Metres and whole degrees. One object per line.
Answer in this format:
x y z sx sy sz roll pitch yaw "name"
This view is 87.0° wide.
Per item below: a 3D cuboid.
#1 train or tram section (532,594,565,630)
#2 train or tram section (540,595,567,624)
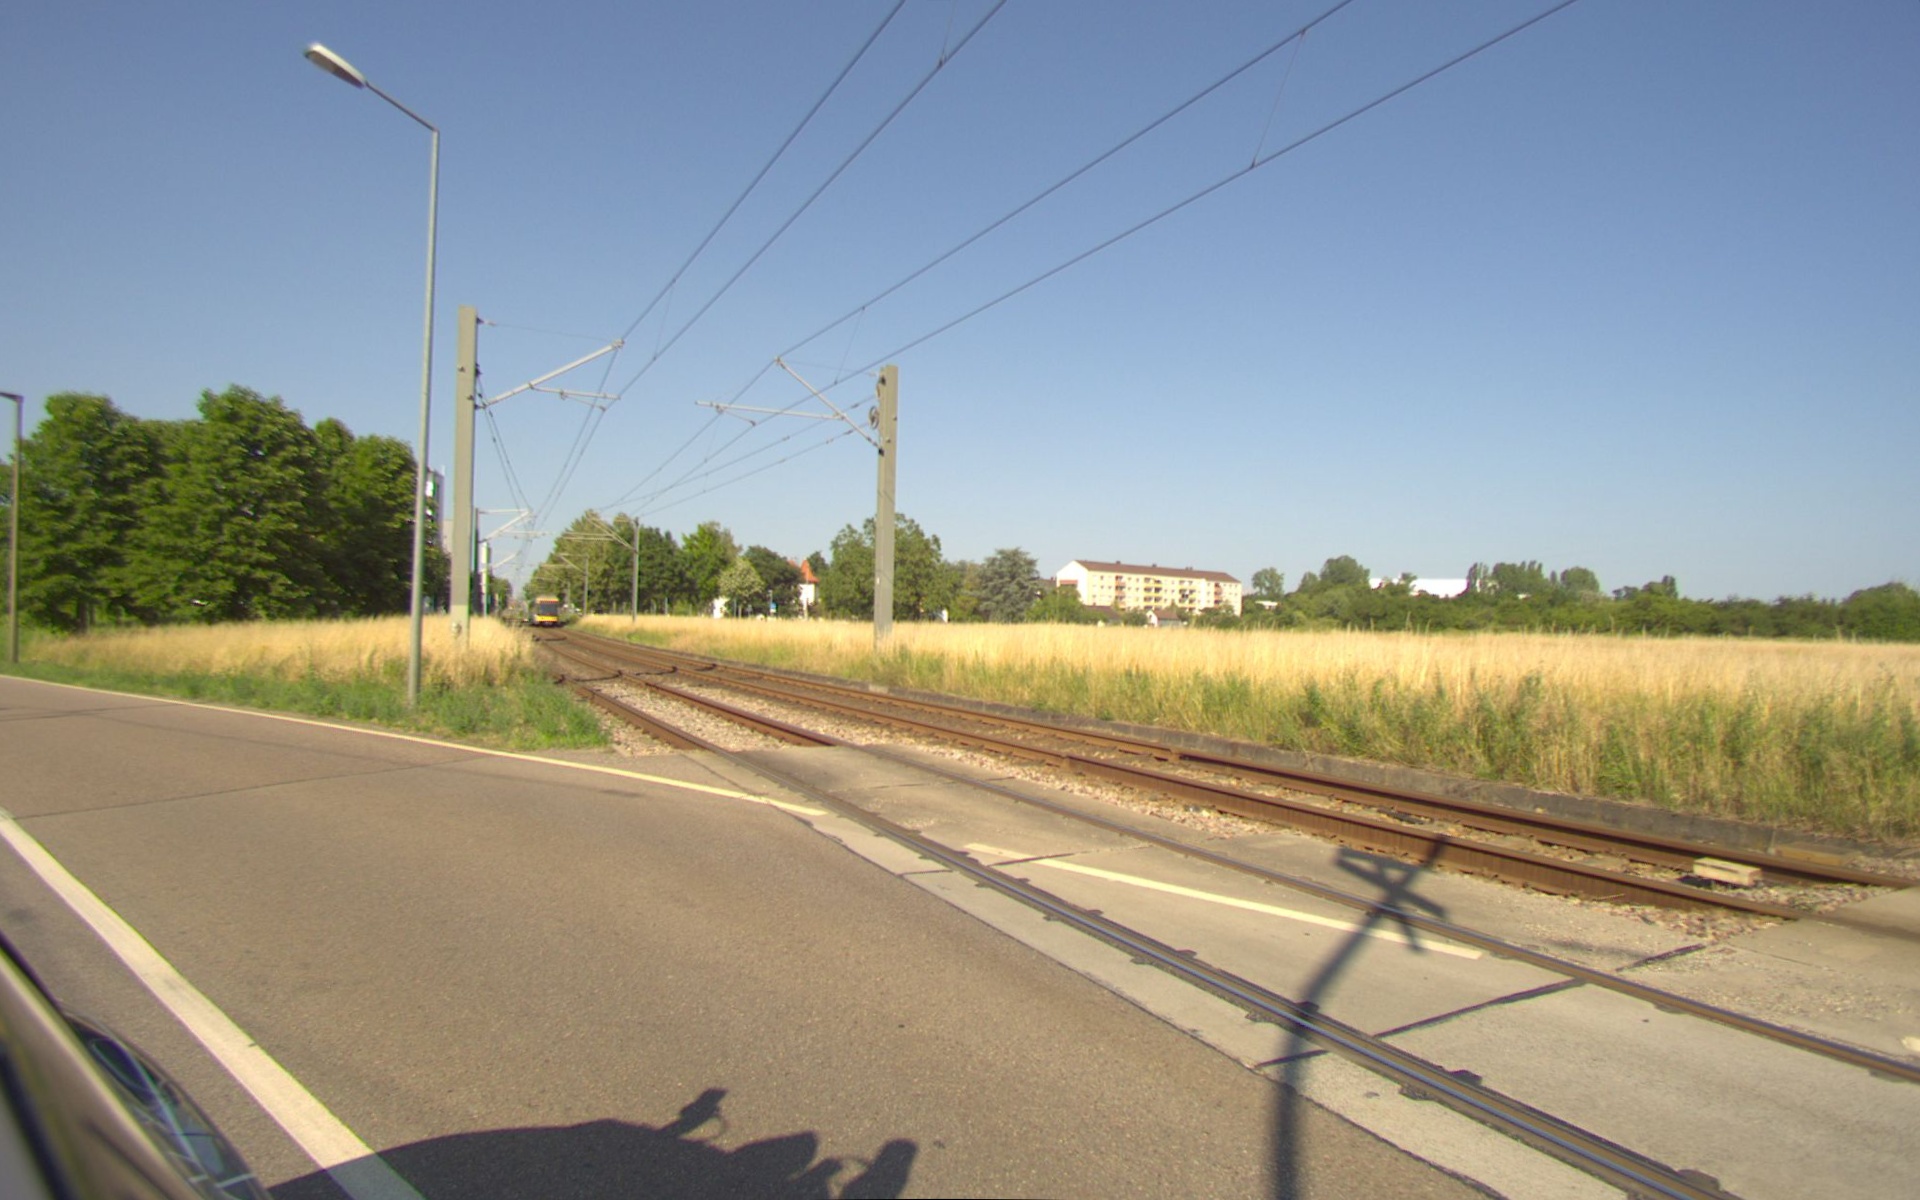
-46.755 1.250 115.314 2.866 3.595 14.308 0 1 -20 "train or tram section"
-51.269 1.148 127.824 2.876 3.480 12.205 0 0 -20 "train or tram section"
